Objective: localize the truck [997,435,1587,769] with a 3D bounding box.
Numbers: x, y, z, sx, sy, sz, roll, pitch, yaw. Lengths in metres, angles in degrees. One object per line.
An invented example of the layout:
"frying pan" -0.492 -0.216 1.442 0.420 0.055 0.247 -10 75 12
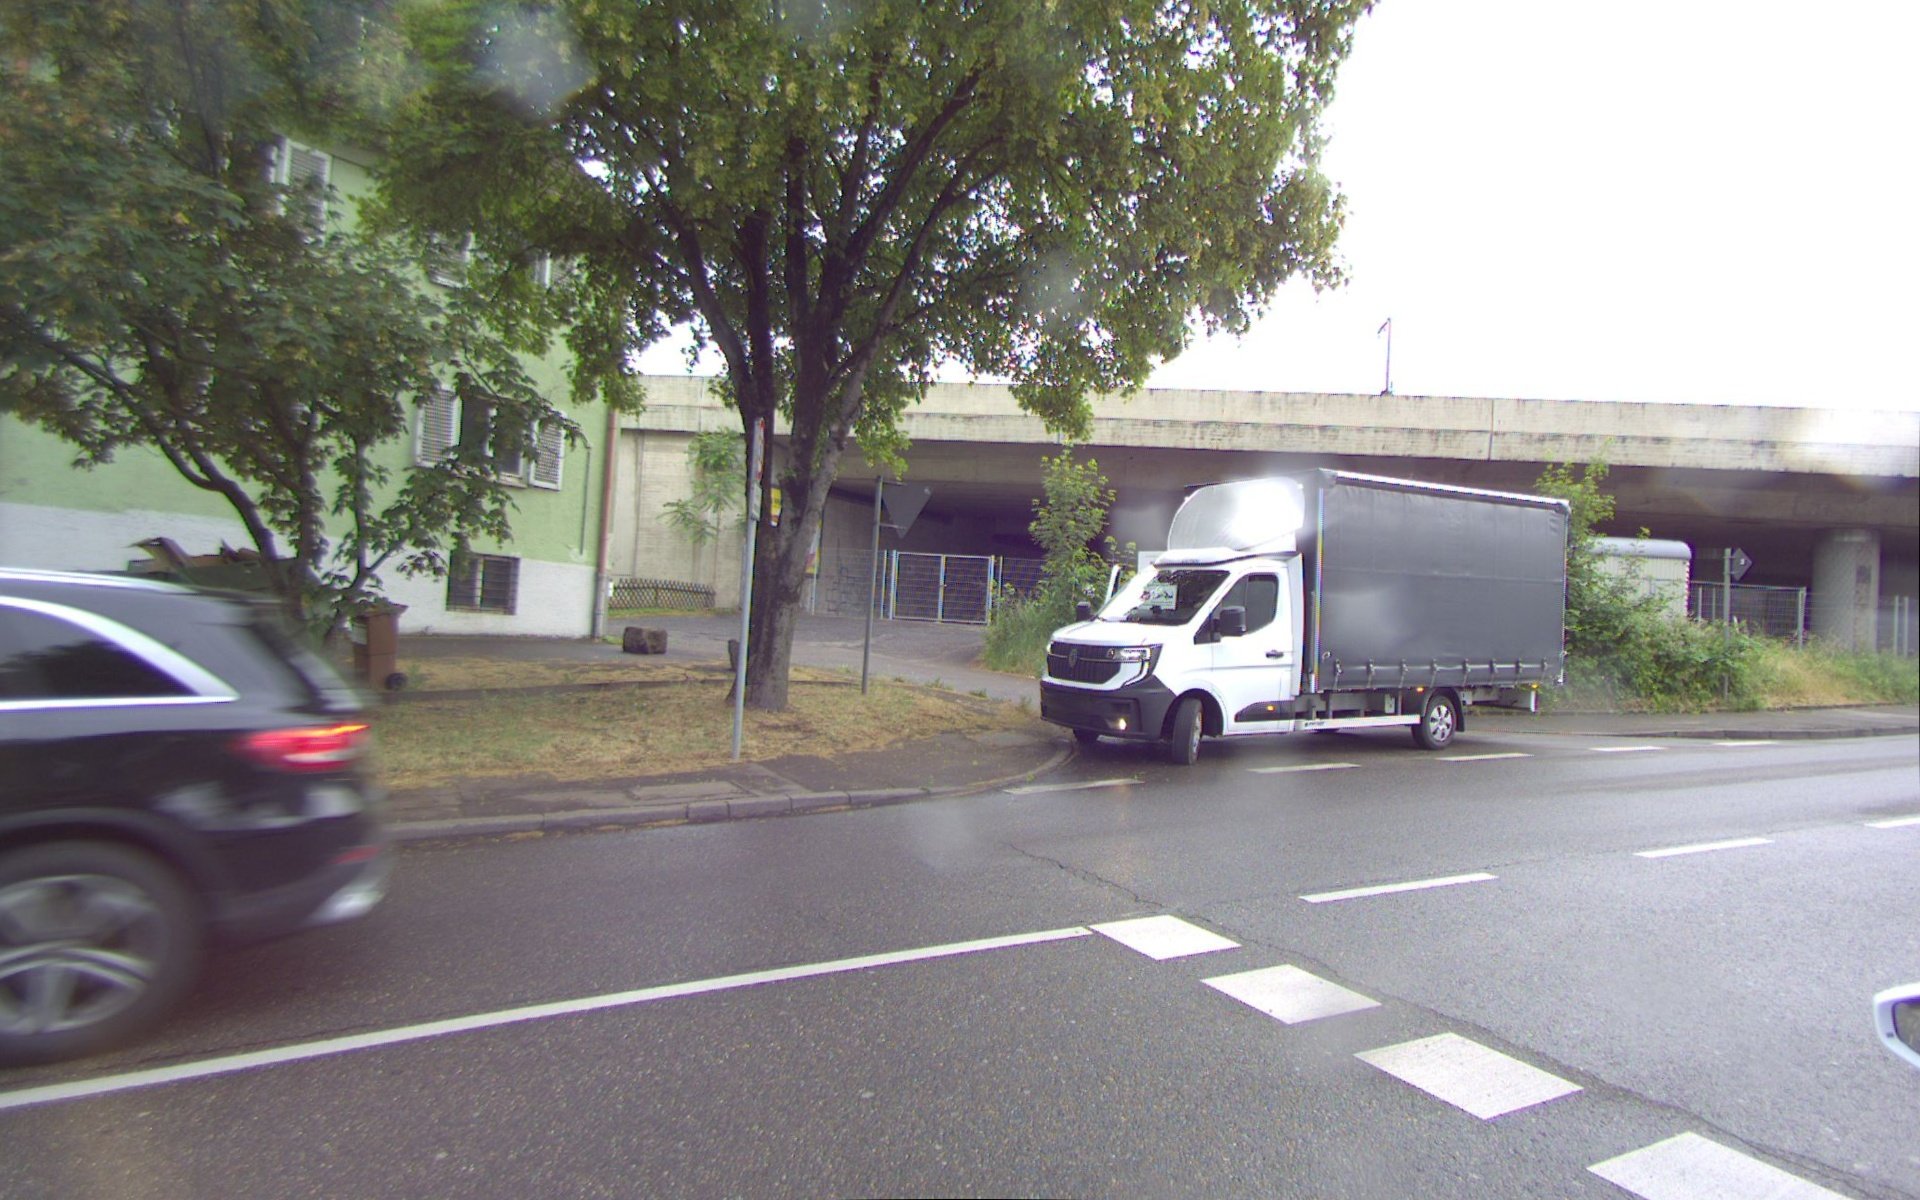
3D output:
"truck" 4.460 0.177 12.857 7.681 3.279 2.599 3 -1 -29

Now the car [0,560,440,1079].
"car" -4.356 0.667 3.504 4.384 1.648 1.905 2 -1 -31

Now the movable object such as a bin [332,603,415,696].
"movable object such as a bin" -6.355 0.531 10.902 0.715 0.970 0.554 3 -1 -30

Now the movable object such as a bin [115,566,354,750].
"movable object such as a bin" -6.730 0.470 9.420 1.078 1.457 1.463 5 5 13

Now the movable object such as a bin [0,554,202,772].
"movable object such as a bin" -7.298 0.417 8.056 1.268 1.457 1.463 5 5 13
